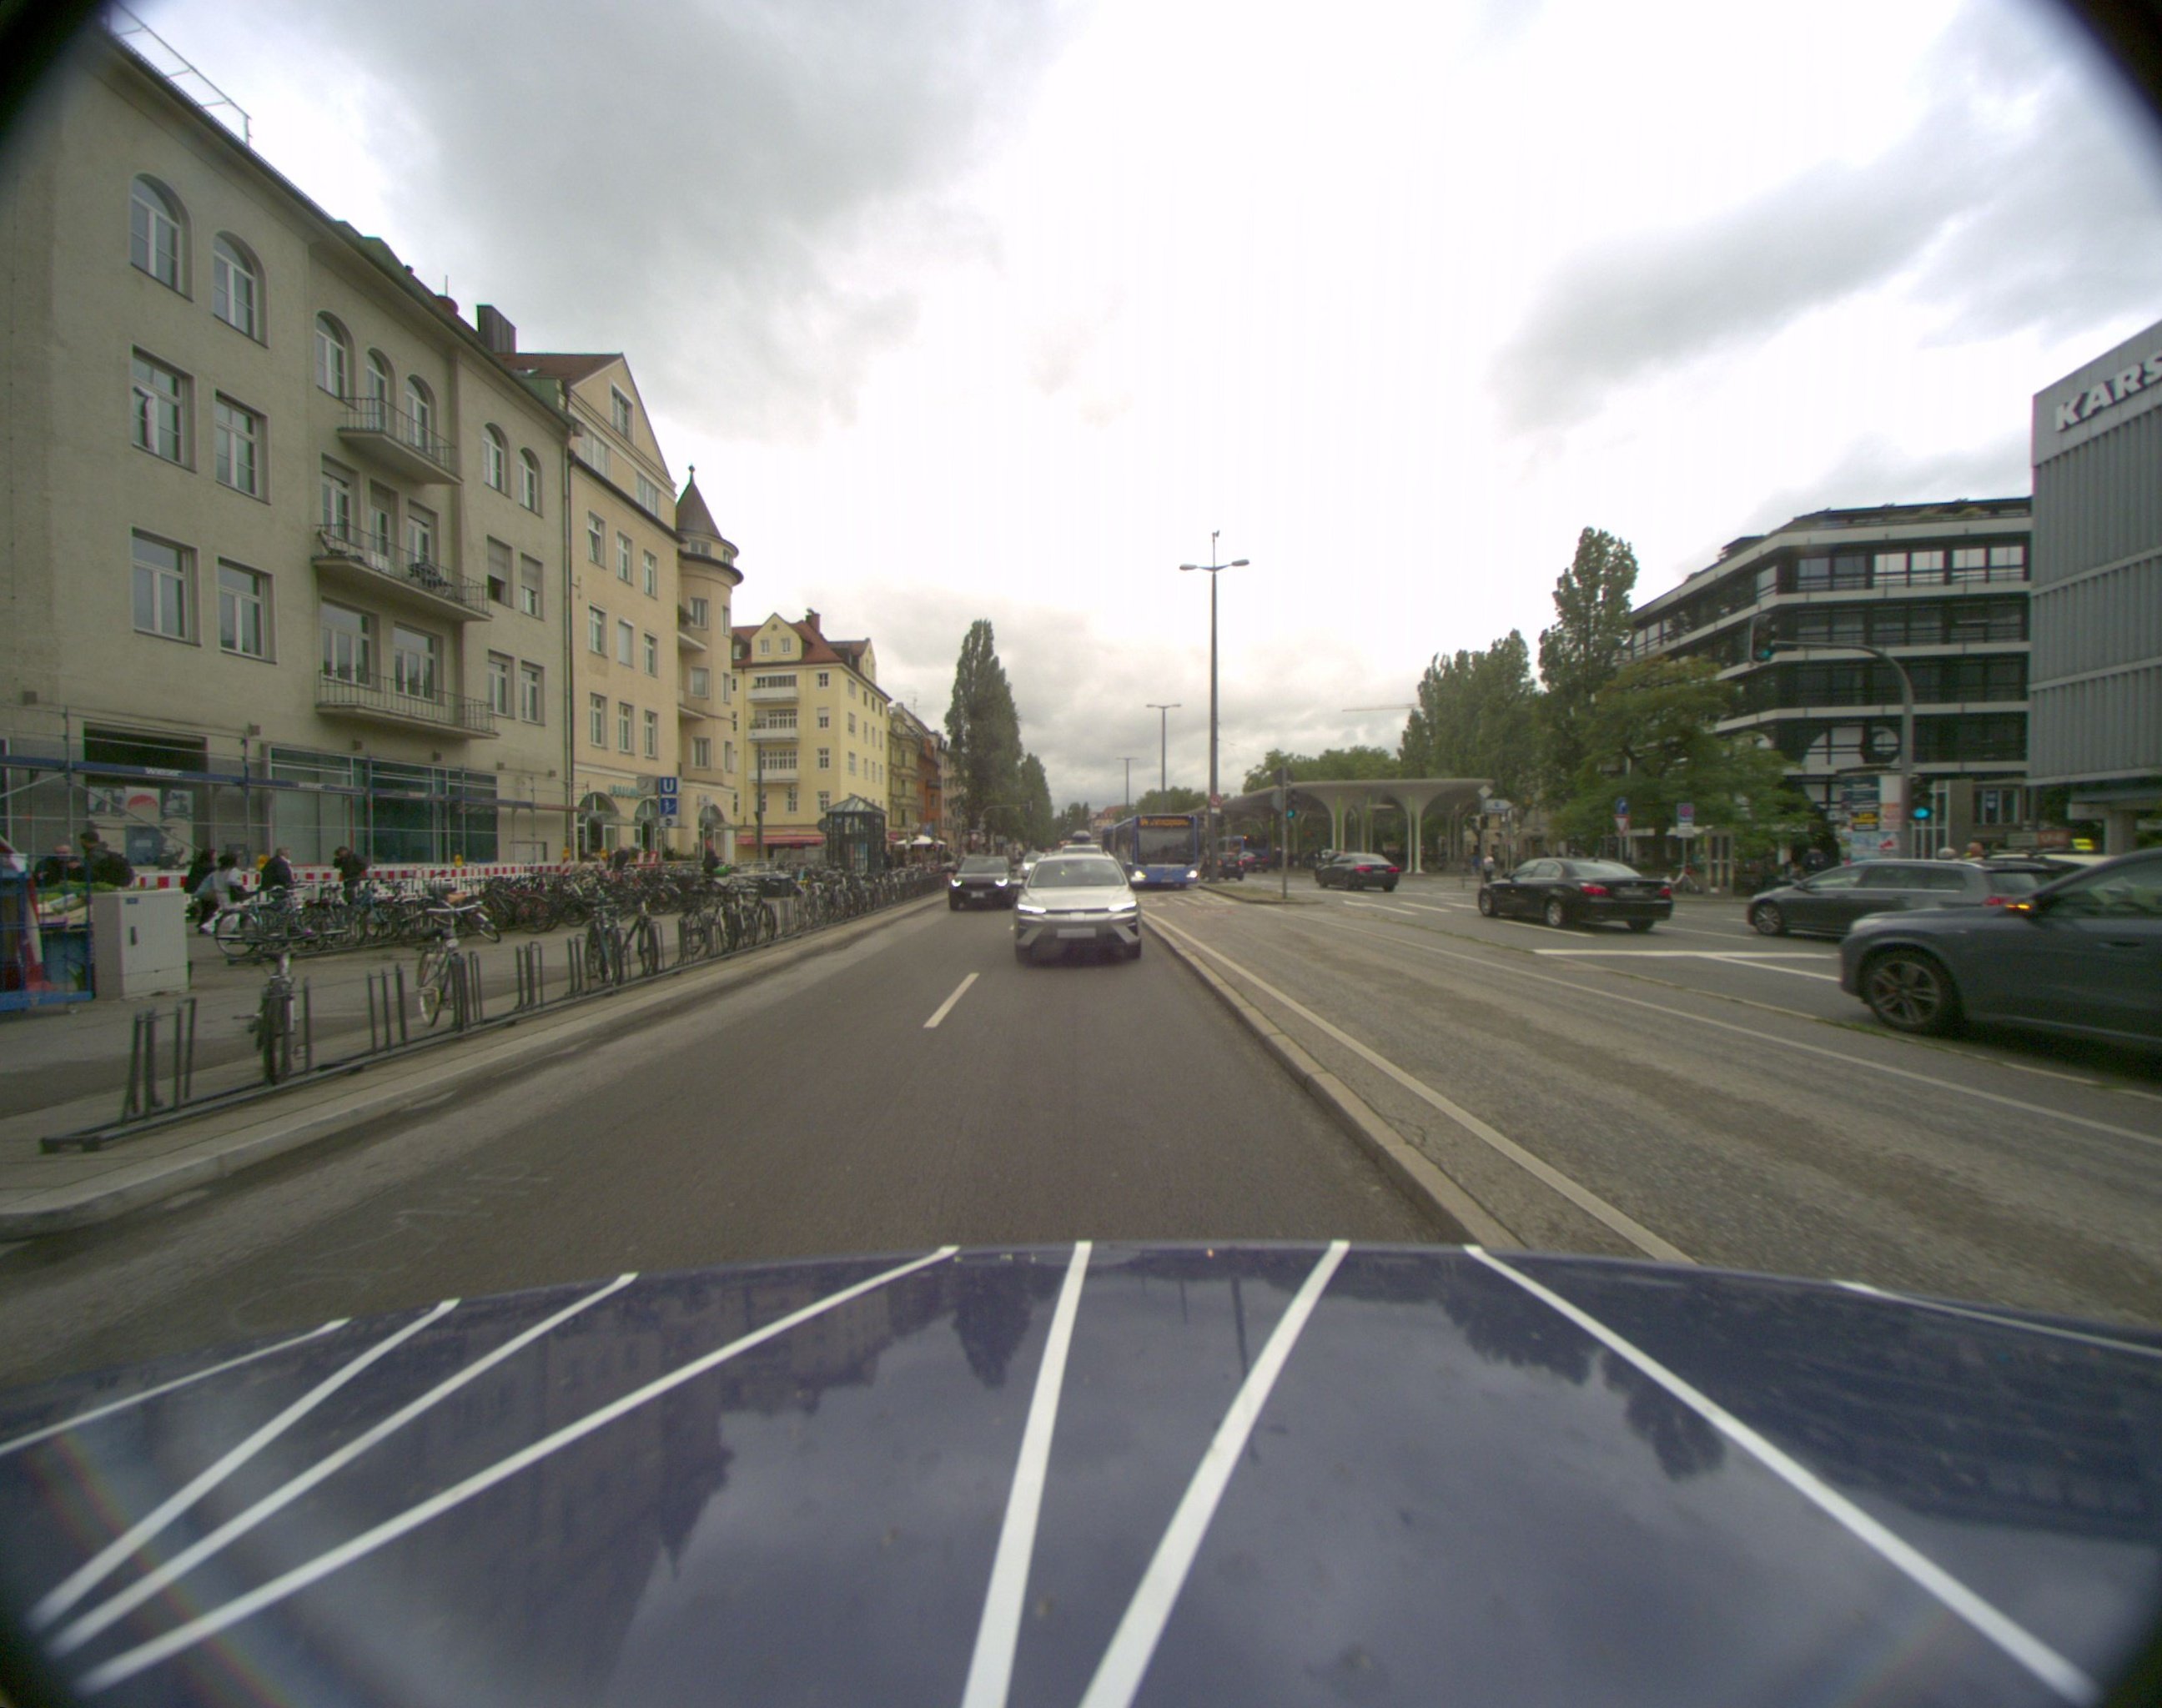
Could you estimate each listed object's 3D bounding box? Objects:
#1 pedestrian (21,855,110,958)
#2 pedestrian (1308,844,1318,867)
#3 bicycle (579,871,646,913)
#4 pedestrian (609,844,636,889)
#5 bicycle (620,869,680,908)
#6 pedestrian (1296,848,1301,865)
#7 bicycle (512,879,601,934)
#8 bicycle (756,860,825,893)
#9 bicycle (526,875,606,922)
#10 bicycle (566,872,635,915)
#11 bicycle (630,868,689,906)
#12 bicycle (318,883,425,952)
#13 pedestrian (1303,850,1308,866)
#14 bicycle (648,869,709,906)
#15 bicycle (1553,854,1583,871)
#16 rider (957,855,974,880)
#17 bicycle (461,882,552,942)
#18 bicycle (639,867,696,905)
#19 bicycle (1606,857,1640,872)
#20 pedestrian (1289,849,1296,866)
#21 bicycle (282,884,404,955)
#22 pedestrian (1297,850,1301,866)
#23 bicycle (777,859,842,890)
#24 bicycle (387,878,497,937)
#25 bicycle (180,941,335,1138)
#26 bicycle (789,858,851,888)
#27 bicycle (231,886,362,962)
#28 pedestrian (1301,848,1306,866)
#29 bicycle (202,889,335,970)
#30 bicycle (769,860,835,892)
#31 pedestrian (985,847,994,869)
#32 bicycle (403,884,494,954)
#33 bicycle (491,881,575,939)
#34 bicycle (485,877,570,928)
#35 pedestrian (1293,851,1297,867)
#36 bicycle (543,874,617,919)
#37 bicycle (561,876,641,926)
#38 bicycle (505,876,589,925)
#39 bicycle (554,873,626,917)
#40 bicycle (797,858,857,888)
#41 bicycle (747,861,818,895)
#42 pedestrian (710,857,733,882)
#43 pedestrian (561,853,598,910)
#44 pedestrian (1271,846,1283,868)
[{"bbox_3d":[-15.849,0.796,11.867,0.653,1.556,0.553,0,1,8],"label":"pedestrian"},{"bbox_3d":[18.937,0.122,62.011,0.666,1.840,0.789,1,1,20],"label":"pedestrian"},{"bbox_3d":[-12.367,0.998,20.087,1.453,1.071,0.410,1,1,-9],"label":"bicycle"},{"bbox_3d":[-17.722,0.467,29.376,0.618,1.728,0.644,0,1,-1],"label":"pedestrian"},{"bbox_3d":[-12.204,0.964,21.542,1.452,1.071,0.410,1,1,-5],"label":"bicycle"},{"bbox_3d":[18.856,0.245,65.985,0.320,1.493,0.317,0,1,-9],"label":"pedestrian"},{"bbox_3d":[-10.667,1.066,15.480,1.453,1.071,0.410,1,1,-9],"label":"bicycle"},{"bbox_3d":[-10.863,0.848,28.474,2.342,1.220,0.628,0,1,3],"label":"bicycle"},{"bbox_3d":[-12.021,1.035,17.763,1.536,1.071,0.410,1,1,-8],"label":"bicycle"},{"bbox_3d":[-12.371,1.008,19.593,1.453,1.071,0.410,1,1,-9],"label":"bicycle"},{"bbox_3d":[-12.226,0.954,22.075,1.452,1.071,0.410,1,1,-5],"label":"bicycle"},{"bbox_3d":[-12.136,1.066,13.001,1.631,1.097,0.410,1,1,9],"label":"bicycle"},{"bbox_3d":[19.344,0.377,65.504,0.303,1.369,0.270,0,1,-2],"label":"pedestrian"},{"bbox_3d":[-12.279,1.009,23.195,1.650,1.071,0.410,1,1,3],"label":"bicycle"},{"bbox_3d":[32.602,0.540,50.878,0.473,1.091,1.671,0,1,-24],"label":"bicycle"},{"bbox_3d":[-5.944,0.688,39.056,0.732,1.234,0.732,2,2,-3],"label":"rider"},{"bbox_3d":[-10.872,1.093,14.394,1.481,1.071,0.410,1,1,5],"label":"bicycle"},{"bbox_3d":[-12.270,0.945,22.562,1.452,1.071,0.410,1,1,-5],"label":"bicycle"},{"bbox_3d":[41.201,0.768,57.804,2.073,1.127,0.561,0,1,6],"label":"bicycle"},{"bbox_3d":[18.441,0.278,66.253,0.426,1.493,0.490,1,1,26],"label":"pedestrian"},{"bbox_3d":[-11.985,1.053,12.355,1.632,1.097,0.410,1,1,2],"label":"bicycle"},{"bbox_3d":[18.806,0.337,65.545,0.316,1.335,0.339,1,1,17],"label":"pedestrian"},{"bbox_3d":[-10.757,0.812,30.124,2.342,1.220,0.628,0,1,3],"label":"bicycle"},{"bbox_3d":[-12.291,1.028,14.643,1.634,1.097,0.410,1,1,-10],"label":"bicycle"},{"bbox_3d":[-5.525,1.146,5.070,1.572,1.048,0.548,-4,-1,38],"label":"bicycle"},{"bbox_3d":[-10.719,0.788,31.253,2.330,1.220,0.628,0,1,3],"label":"bicycle"},{"bbox_3d":[-12.096,1.069,11.727,1.632,1.097,0.410,1,1,2],"label":"bicycle"},{"bbox_3d":[19.241,0.248,65.759,0.335,1.493,0.317,0,1,-9],"label":"pedestrian"},{"bbox_3d":[-11.936,1.097,11.170,1.632,1.097,0.410,1,1,5],"label":"bicycle"},{"bbox_3d":[-10.716,0.829,29.188,2.317,1.220,0.628,0,1,3],"label":"bicycle"},{"bbox_3d":[-7.688,0.315,63.553,0.732,1.792,0.710,0,3,-9],"label":"pedestrian"},{"bbox_3d":[-10.625,1.073,12.766,1.471,1.071,0.410,1,1,15],"label":"bicycle"},{"bbox_3d":[-10.718,1.079,14.869,1.451,1.071,0.410,1,1,8],"label":"bicycle"},{"bbox_3d":[-12.039,1.060,16.554,1.453,1.071,0.410,1,1,-9],"label":"bicycle"},{"bbox_3d":[18.475,0.433,65.651,0.316,1.335,0.339,1,1,17],"label":"pedestrian"},{"bbox_3d":[-12.137,1.025,18.419,1.453,1.071,0.410,1,1,-9],"label":"bicycle"},{"bbox_3d":[-10.583,1.037,16.774,1.453,1.071,0.410,1,1,-9],"label":"bicycle"},{"bbox_3d":[-12.044,1.048,17.165,1.536,1.071,0.410,1,1,-8],"label":"bicycle"},{"bbox_3d":[-12.245,1.017,18.978,1.453,1.071,0.410,1,1,-9],"label":"bicycle"},{"bbox_3d":[-10.692,0.790,32.008,2.317,1.220,0.628,0,1,3],"label":"bicycle"},{"bbox_3d":[-10.914,0.863,27.795,2.368,1.220,0.628,0,1,3],"label":"bicycle"},{"bbox_3d":[-18.077,0.769,38.201,0.701,1.238,0.918,0,2,-1],"label":"pedestrian"},{"bbox_3d":[-13.934,0.751,21.103,0.661,1.573,0.536,0,1,-4],"label":"pedestrian"},{"bbox_3d":[15.745,0.267,61.080,0.711,1.738,0.788,0,1,0],"label":"pedestrian"}]
